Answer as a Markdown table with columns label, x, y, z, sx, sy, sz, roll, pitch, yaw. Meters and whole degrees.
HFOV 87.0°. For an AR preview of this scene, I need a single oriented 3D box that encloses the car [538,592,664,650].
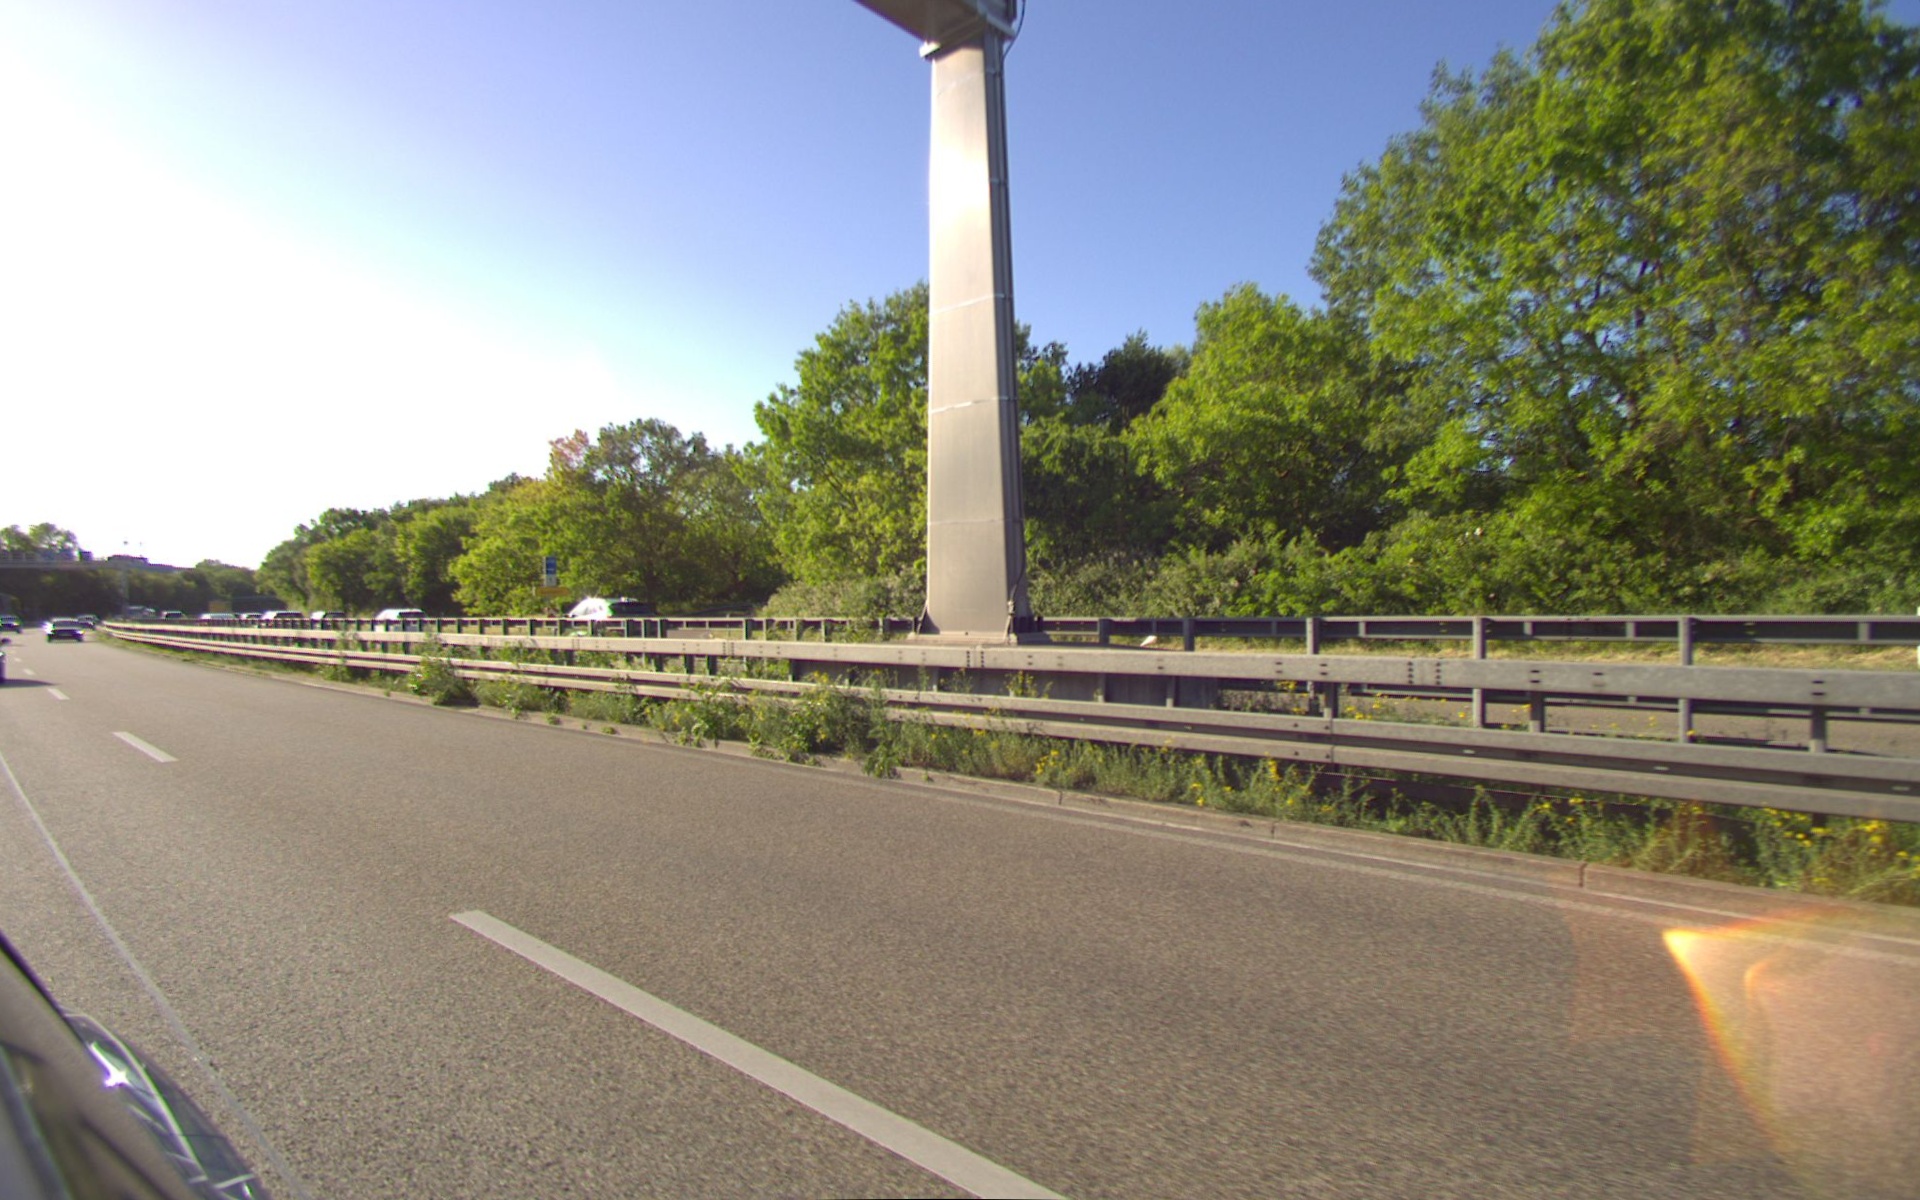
| label | x | y | z | sx | sy | sz | roll | pitch | yaw |
| --- | --- | --- | --- | --- | --- | --- | --- | --- | --- |
| car | -11.554 | 0.655 | 32.369 | 1.971 | 1.653 | 4.724 | -2 | 0 | -44 |

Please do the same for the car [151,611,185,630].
| label | x | y | z | sx | sy | sz | roll | pitch | yaw |
| --- | --- | --- | --- | --- | --- | --- | --- | --- | --- |
| car | -74.224 | 1.915 | 94.766 | 1.971 | 1.653 | 4.724 | -2 | 0 | -44 |

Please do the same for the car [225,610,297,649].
| label | x | y | z | sx | sy | sz | roll | pitch | yaw |
| --- | --- | --- | --- | --- | --- | --- | --- | --- | --- |
| car | -32.891 | 1.377 | 47.559 | 1.971 | 1.653 | 4.724 | -2 | 0 | -44 |

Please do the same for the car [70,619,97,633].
| label | x | y | z | sx | sy | sz | roll | pitch | yaw |
| --- | --- | --- | --- | --- | --- | --- | --- | --- | --- |
| car | -101.170 | 2.986 | 116.849 | 1.968 | 1.425 | 4.841 | -2 | 0 | -37 |

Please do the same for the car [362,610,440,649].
| label | x | y | z | sx | sy | sz | roll | pitch | yaw |
| --- | --- | --- | --- | --- | --- | --- | --- | --- | --- |
| car | -26.169 | 1.366 | 47.301 | 1.971 | 1.653 | 4.724 | -2 | 0 | -44 |

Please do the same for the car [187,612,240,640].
| label | x | y | z | sx | sy | sz | roll | pitch | yaw |
| --- | --- | --- | --- | --- | --- | --- | --- | --- | --- |
| car | -45.765 | 1.617 | 62.019 | 1.970 | 1.653 | 4.724 | 2 | -2 | -44 |

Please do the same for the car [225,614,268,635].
| label | x | y | z | sx | sy | sz | roll | pitch | yaw |
| --- | --- | --- | --- | --- | --- | --- | --- | --- | --- |
| car | -55.544 | 1.906 | 78.797 | 1.971 | 1.489 | 4.724 | -2 | 0 | -44 |

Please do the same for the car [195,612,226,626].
| label | x | y | z | sx | sy | sz | roll | pitch | yaw |
| --- | --- | --- | --- | --- | --- | --- | --- | --- | --- |
| car | -80.967 | 2.045 | 109.328 | 1.971 | 1.425 | 4.834 | -2 | 0 | -44 |

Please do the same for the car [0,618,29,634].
| label | x | y | z | sx | sy | sz | roll | pitch | yaw |
| --- | --- | --- | --- | --- | --- | --- | --- | --- | --- |
| car | -89.893 | 2.498 | 96.084 | 1.968 | 1.425 | 4.839 | -2 | 0 | -40 |

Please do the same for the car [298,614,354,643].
| label | x | y | z | sx | sy | sz | roll | pitch | yaw |
| --- | --- | --- | --- | --- | --- | --- | --- | --- | --- |
| car | -40.128 | 1.797 | 64.022 | 1.971 | 1.653 | 5.030 | -2 | 0 | -44 |

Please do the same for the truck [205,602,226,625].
| label | x | y | z | sx | sy | sz | roll | pitch | yaw |
| --- | --- | --- | --- | --- | --- | --- | --- | --- | --- |
| truck | -149.117 | 2.654 | 202.723 | 3.124 | 4.452 | 8.037 | -4 | 1 | -37 |

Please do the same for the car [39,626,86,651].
| label | x | y | z | sx | sy | sz | roll | pitch | yaw |
| --- | --- | --- | --- | --- | --- | --- | --- | --- | --- |
| car | -57.774 | 2.462 | 65.096 | 1.971 | 1.425 | 4.833 | -2 | 0 | -45 |
